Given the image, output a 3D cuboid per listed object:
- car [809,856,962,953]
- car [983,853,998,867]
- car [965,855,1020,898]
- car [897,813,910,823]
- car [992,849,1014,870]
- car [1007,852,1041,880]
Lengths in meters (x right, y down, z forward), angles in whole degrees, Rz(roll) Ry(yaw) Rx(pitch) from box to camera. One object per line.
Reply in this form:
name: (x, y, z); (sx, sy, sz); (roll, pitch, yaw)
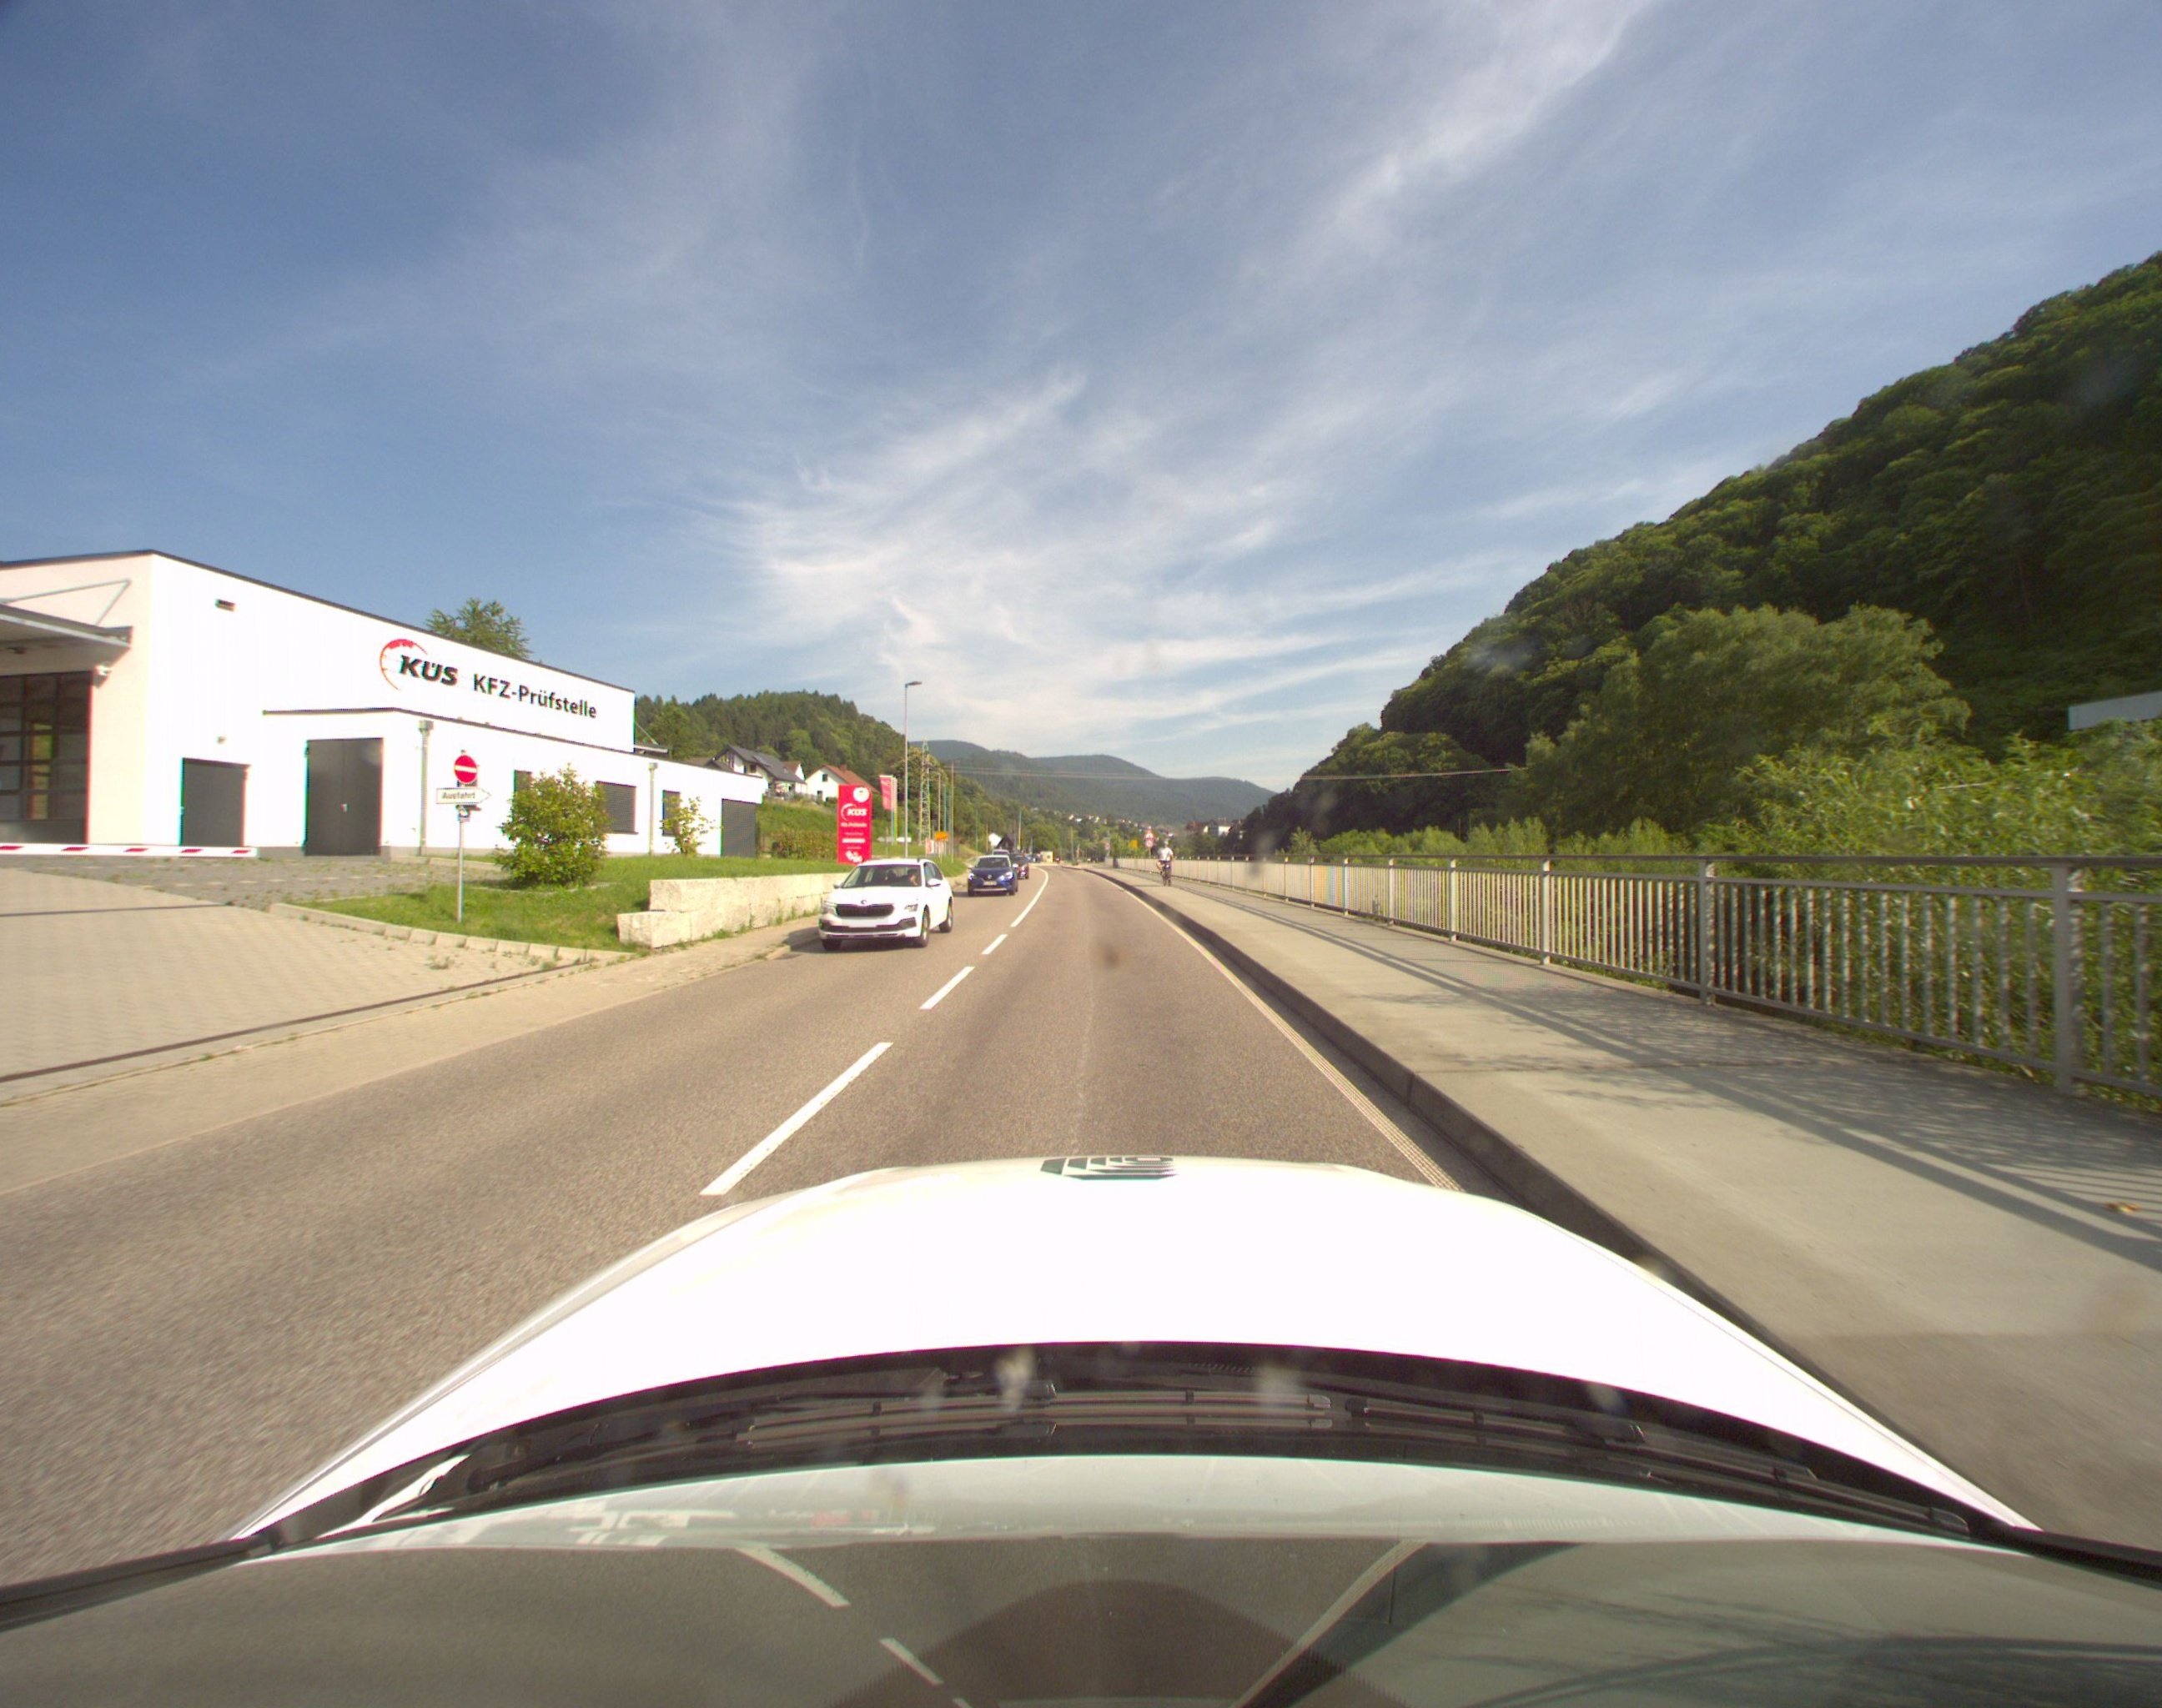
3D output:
car: (-3.449, 0.821, 15.155); (1.743, 1.504, 4.191); (-1, 0, 1)
car: (-10.879, 0.710, 98.252); (1.703, 1.584, 4.150); (1, 0, -6)
car: (-3.425, 0.832, 32.146); (1.739, 1.526, 3.999); (-2, 0, -1)
car: (-31.324, -6.284, 144.033); (1.773, 1.516, 4.261); (3, 0, -8)
car: (-7.306, 0.528, 77.024); (1.892, 1.887, 5.288); (1, 0, -4)
car: (-3.480, 0.678, 50.320); (1.791, 1.618, 4.461); (-1, 0, 0)
